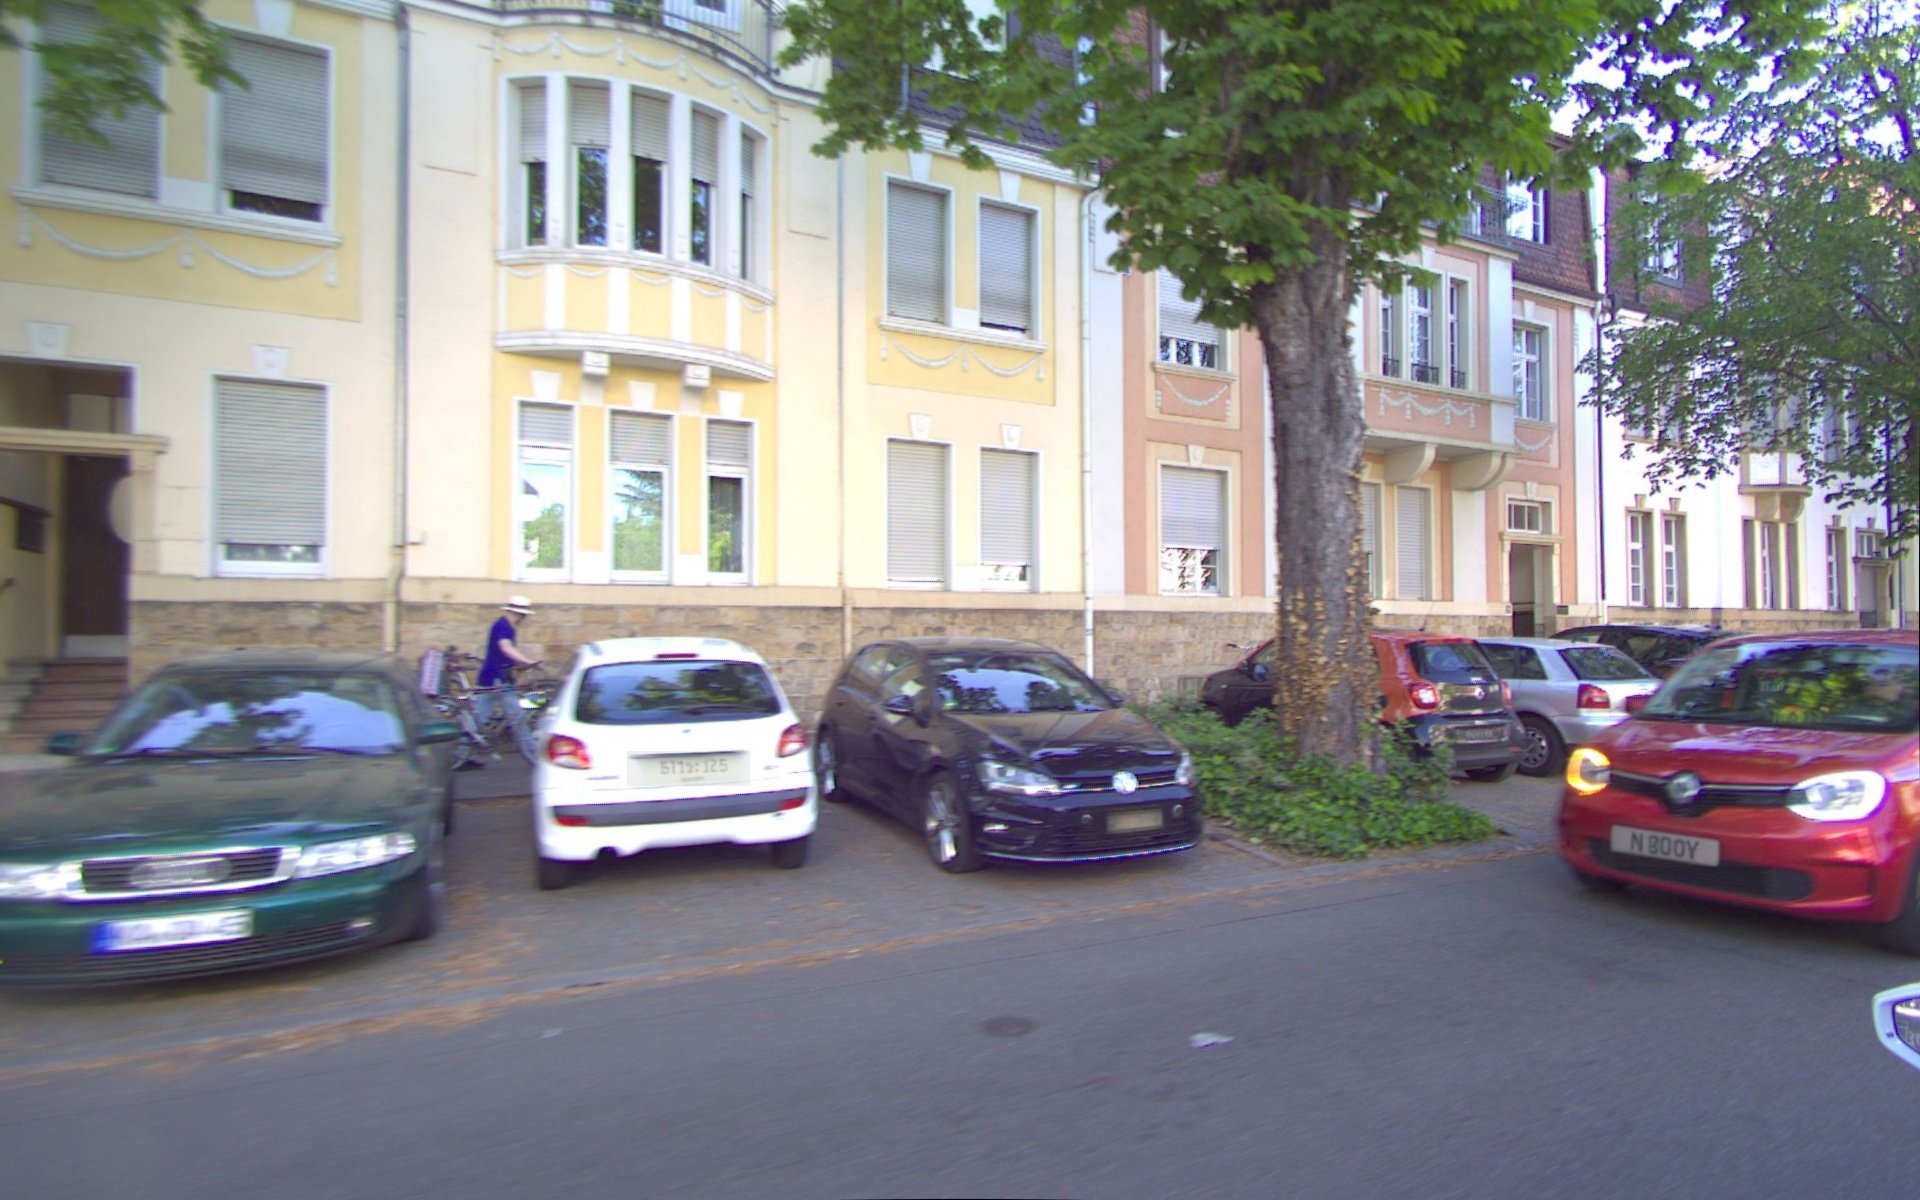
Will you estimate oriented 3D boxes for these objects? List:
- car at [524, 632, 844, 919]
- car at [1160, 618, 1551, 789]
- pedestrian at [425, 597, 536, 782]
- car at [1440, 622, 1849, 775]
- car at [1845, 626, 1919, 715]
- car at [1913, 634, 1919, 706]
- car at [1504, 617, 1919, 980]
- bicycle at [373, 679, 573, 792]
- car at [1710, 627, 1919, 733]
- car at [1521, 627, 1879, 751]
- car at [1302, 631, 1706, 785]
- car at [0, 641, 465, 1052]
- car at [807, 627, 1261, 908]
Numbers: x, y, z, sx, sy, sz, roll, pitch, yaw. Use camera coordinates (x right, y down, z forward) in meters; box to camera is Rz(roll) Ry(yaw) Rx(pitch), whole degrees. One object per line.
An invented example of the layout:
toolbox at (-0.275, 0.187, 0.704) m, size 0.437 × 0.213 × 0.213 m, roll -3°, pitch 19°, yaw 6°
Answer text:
car at (-2.158, 0.991, 7.174) m, size 1.680 × 1.471 × 3.424 m, roll 2°, pitch -2°, yaw -24°
car at (4.108, 1.036, 11.168) m, size 1.699 × 1.527 × 3.976 m, roll 1°, pitch -3°, yaw -25°
pedestrian at (-4.532, 0.830, 9.538) m, size 0.881 × 1.680 × 0.459 m, roll 1°, pitch -2°, yaw -19°
car at (8.490, 1.105, 12.874) m, size 1.838 × 1.587 × 3.975 m, roll 1°, pitch -1°, yaw -25°
car at (18.774, 1.296, 18.019) m, size 1.835 × 1.613 × 3.972 m, roll 1°, pitch -1°, yaw -27°
car at (21.029, 1.411, 19.050) m, size 1.832 × 1.465 × 3.895 m, roll 1°, pitch -1°, yaw -21°
car at (5.107, 0.910, 5.847) m, size 3.655 × 1.528 × 1.635 m, roll 1°, pitch -3°, yaw -28°
bicycle at (-4.351, 1.193, 9.081) m, size 1.572 × 0.924 × 0.471 m, roll 1°, pitch -2°, yaw -20°
car at (14.484, 1.217, 15.823) m, size 1.725 × 1.534 × 3.973 m, roll 2°, pitch -2°, yaw -26°
car at (10.464, 1.161, 14.514) m, size 1.838 × 1.481 × 3.779 m, roll 1°, pitch -1°, yaw -25°
car at (6.207, 1.125, 11.983) m, size 1.805 × 1.422 × 3.975 m, roll 1°, pitch -1°, yaw -25°
car at (-3.776, 0.969, 5.712) m, size 1.681 × 1.366 × 4.197 m, roll 2°, pitch -2°, yaw -26°
car at (0.250, 0.982, 7.686) m, size 1.761 × 1.502 × 3.975 m, roll 1°, pitch -1°, yaw -25°
